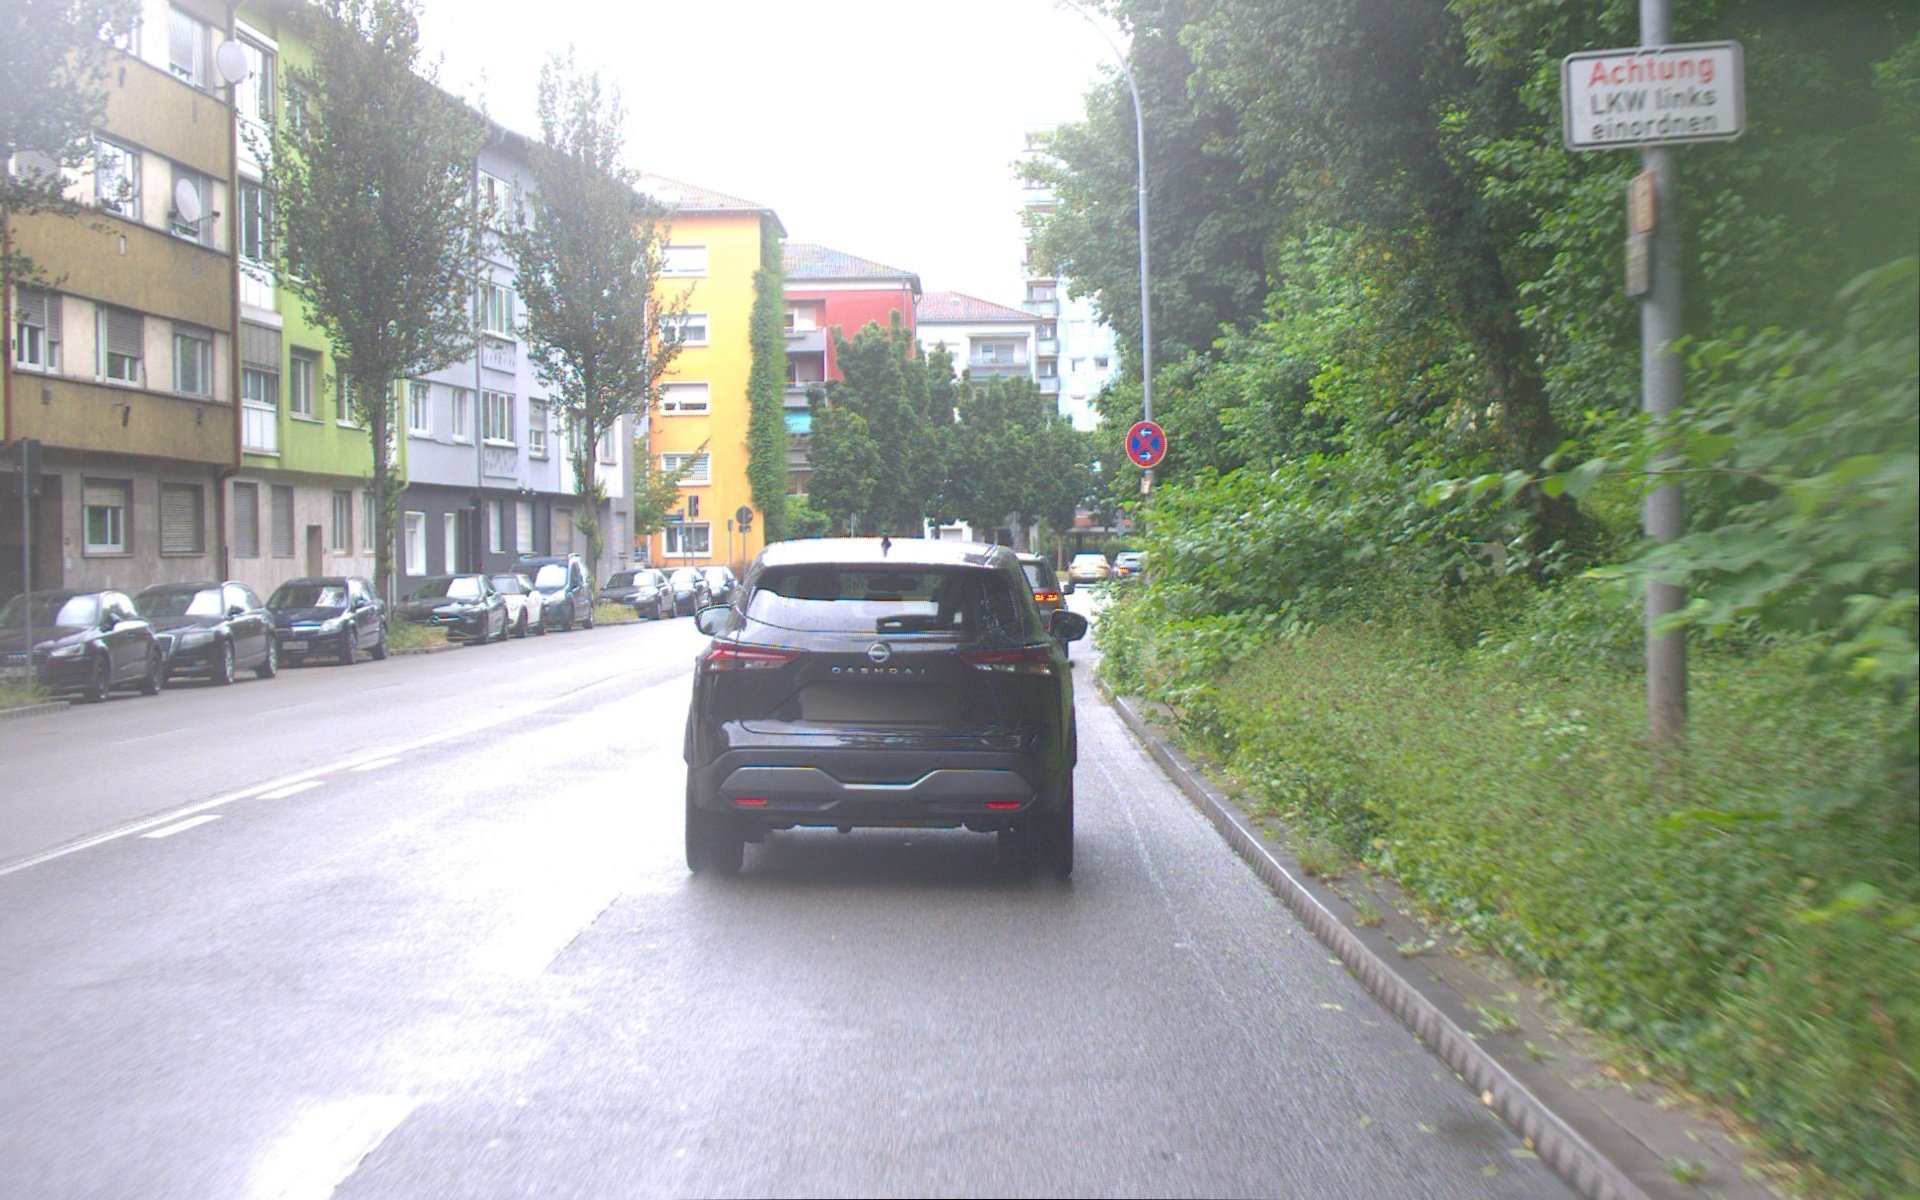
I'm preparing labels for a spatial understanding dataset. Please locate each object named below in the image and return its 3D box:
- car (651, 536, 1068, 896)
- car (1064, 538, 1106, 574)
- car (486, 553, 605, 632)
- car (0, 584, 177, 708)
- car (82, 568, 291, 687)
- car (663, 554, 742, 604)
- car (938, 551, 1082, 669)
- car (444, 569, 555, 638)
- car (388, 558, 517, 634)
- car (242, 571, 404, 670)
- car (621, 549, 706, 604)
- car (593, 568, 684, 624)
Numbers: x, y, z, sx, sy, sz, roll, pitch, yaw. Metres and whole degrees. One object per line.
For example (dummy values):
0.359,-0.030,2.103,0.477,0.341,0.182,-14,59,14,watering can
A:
-0.457,0.480,17.336,1.845,1.577,4.000,1,1,0,car
5.352,-1.876,146.462,1.706,1.473,3.680,-1,1,3,car
-9.793,-0.200,81.577,1.891,1.760,4.600,-2,1,4,car
-11.166,0.548,43.154,1.626,1.382,3.988,-2,1,2,car
-11.012,0.353,49.274,1.817,1.483,4.790,-2,1,1,car
-7.915,-0.665,105.937,1.713,1.420,4.322,-3,1,5,car
0.789,0.118,51.825,1.887,1.705,3.999,0,1,5,car
-10.125,0.058,75.825,1.680,1.371,4.000,-3,1,3,car
-10.294,-0.105,69.994,1.817,1.367,4.680,-2,1,1,car
-10.789,0.322,58.492,1.718,1.483,4.515,-2,1,2,car
-8.604,-0.693,100.039,1.681,1.444,4.275,-3,1,5,car
-8.807,-0.122,94.417,1.688,1.353,4.579,-4,1,4,car
